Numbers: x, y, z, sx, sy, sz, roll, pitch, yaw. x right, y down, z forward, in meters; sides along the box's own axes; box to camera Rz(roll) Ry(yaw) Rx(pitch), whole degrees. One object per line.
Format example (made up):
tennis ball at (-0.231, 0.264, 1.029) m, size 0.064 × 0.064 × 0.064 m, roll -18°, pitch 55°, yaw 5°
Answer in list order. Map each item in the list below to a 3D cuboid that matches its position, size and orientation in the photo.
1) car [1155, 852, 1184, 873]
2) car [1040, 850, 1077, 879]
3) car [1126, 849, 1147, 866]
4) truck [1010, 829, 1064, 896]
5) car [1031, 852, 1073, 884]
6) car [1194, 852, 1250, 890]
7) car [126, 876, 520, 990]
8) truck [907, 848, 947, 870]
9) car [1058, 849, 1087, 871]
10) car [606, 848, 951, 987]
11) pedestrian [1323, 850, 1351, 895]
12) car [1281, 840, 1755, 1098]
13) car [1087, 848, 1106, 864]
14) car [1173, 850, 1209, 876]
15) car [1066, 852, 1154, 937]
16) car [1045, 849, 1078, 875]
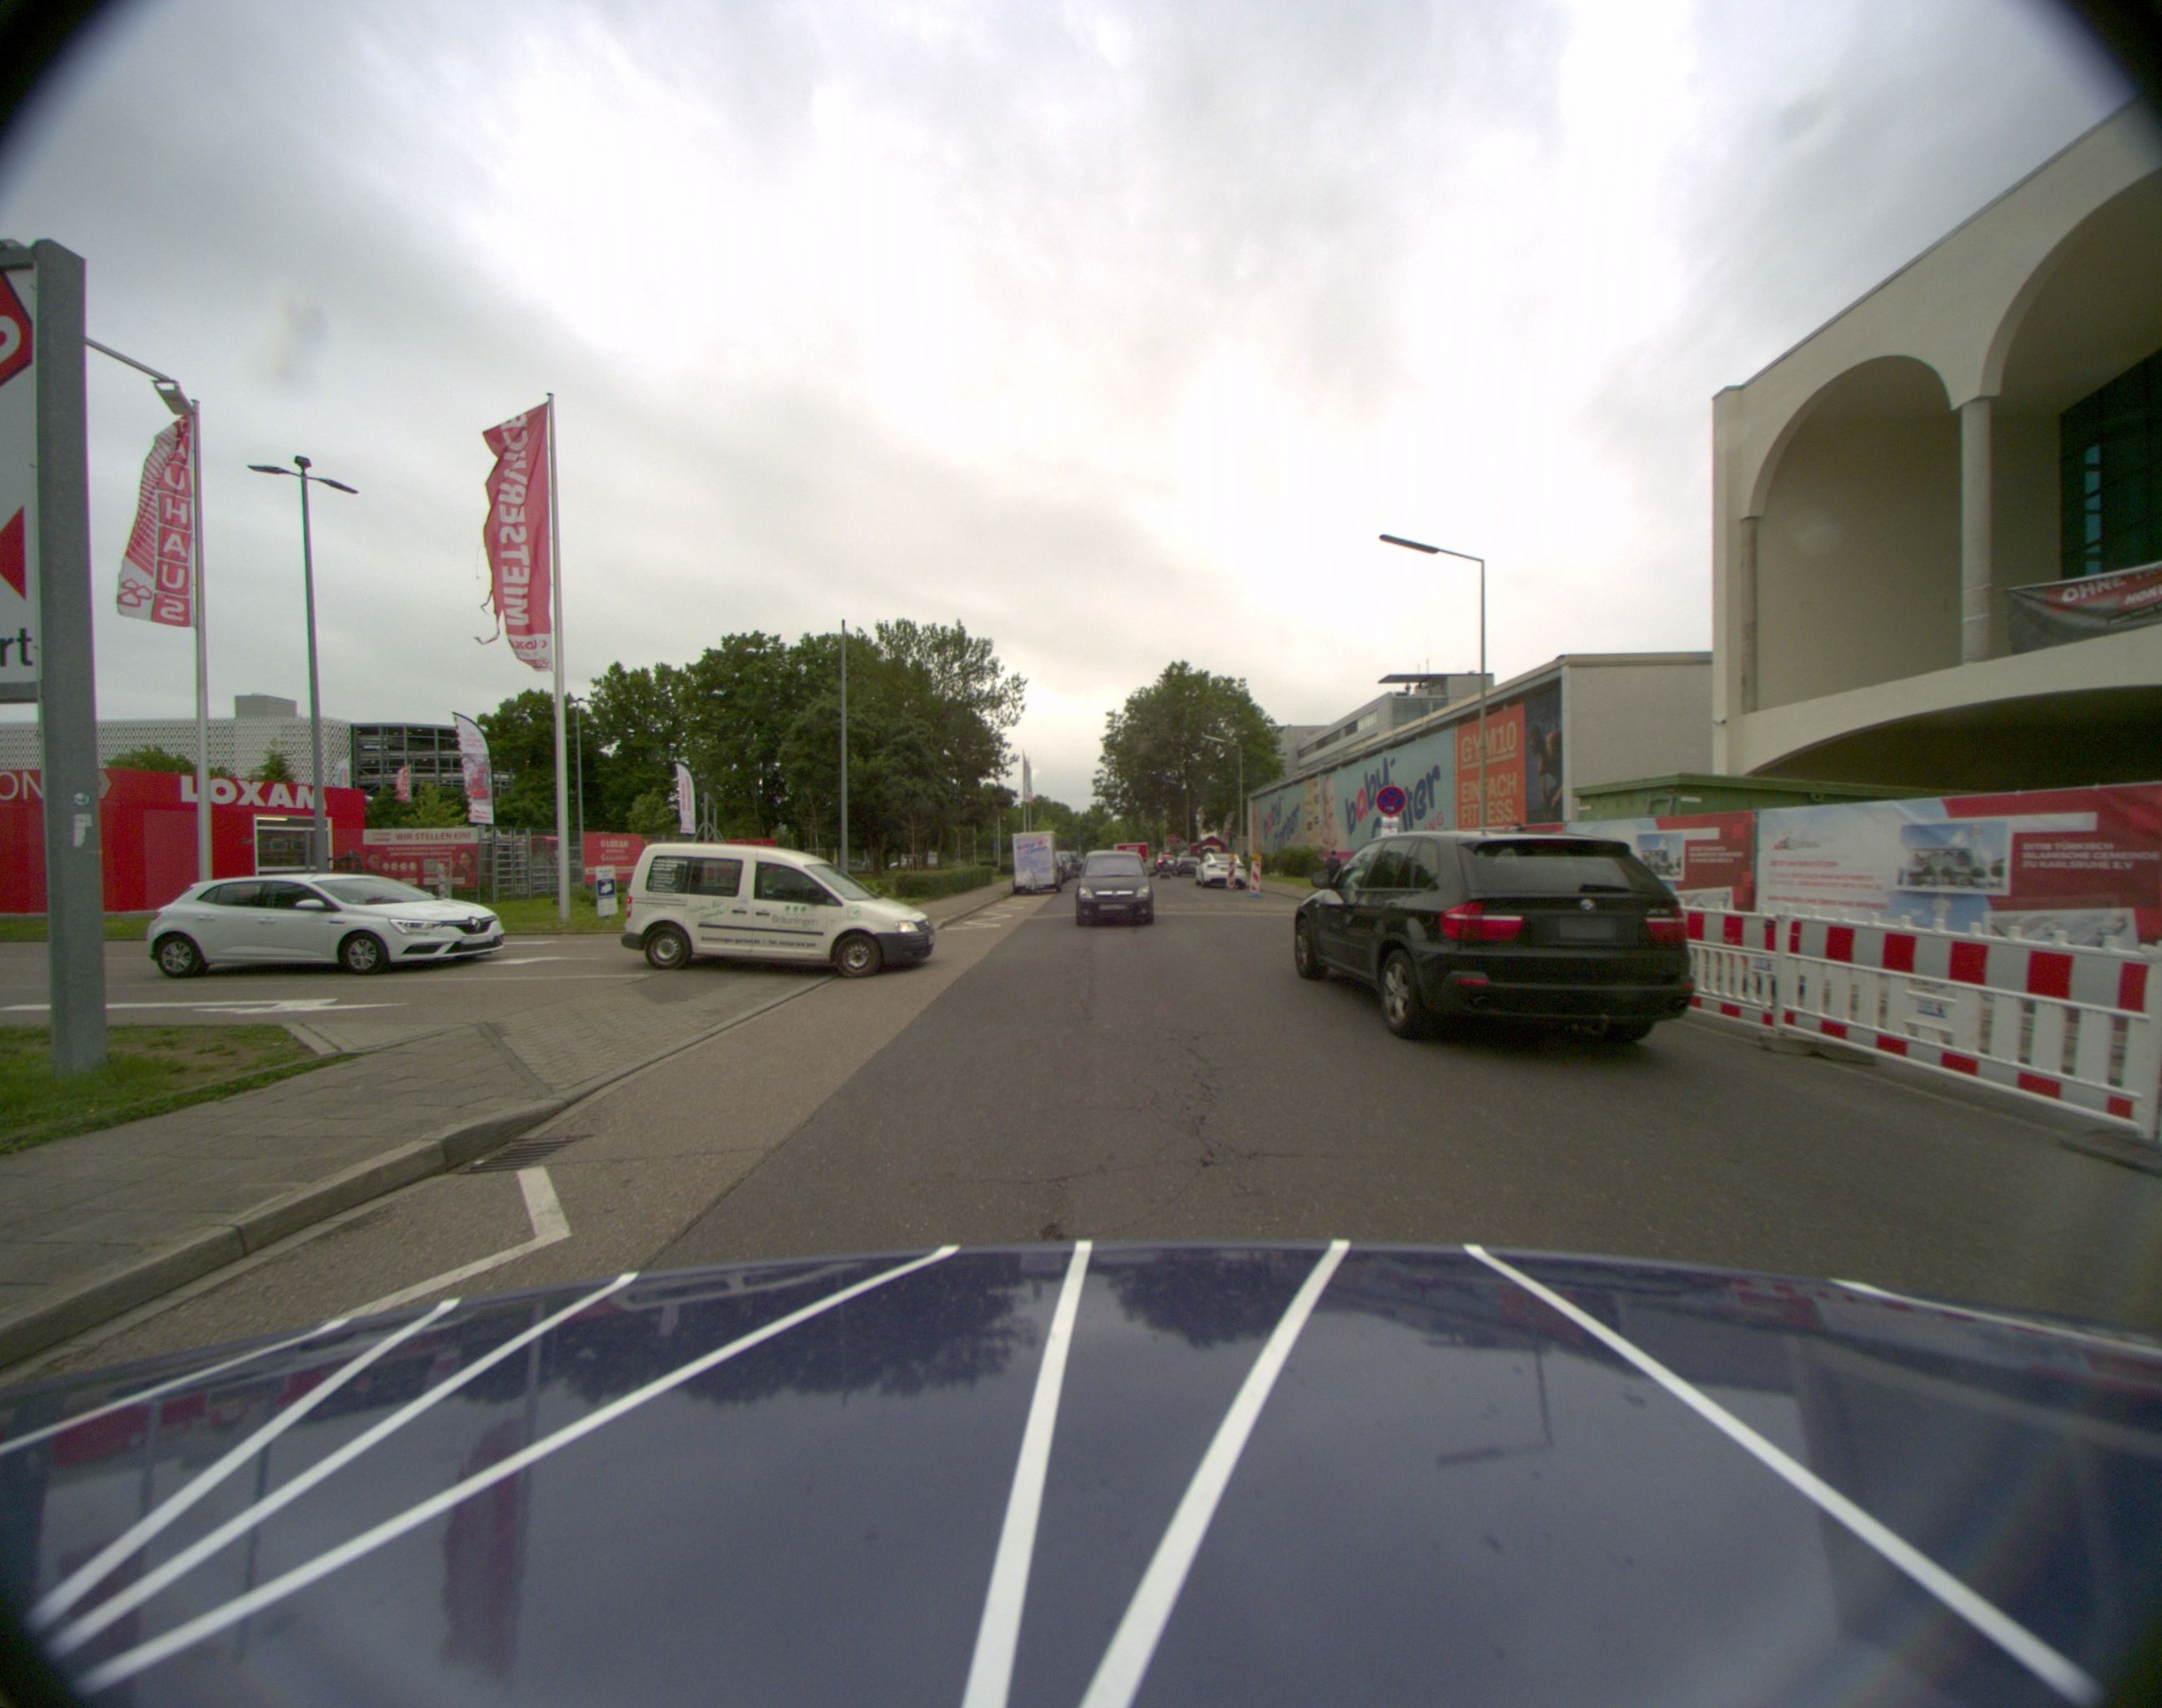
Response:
car at (7.203, 0.649, 62.177) m, size 1.928 × 1.565 × 4.150 m, roll 2°, pitch 0°, yaw 2°
car at (-1.401, 0.641, 48.556) m, size 1.998 × 1.740 × 4.001 m, roll -1°, pitch 0°, yaw 4°
car at (5.361, 0.323, 74.177) m, size 1.928 × 1.565 × 4.000 m, roll 0°, pitch 0°, yaw 3°
truck at (-1.834, 0.338, 32.850) m, size 1.853 × 2.597 × 4.000 m, roll -4°, pitch 1°, yaw 1°
car at (-1.592, 0.759, 43.367) m, size 1.998 × 1.718 × 4.001 m, roll -1°, pitch 0°, yaw 4°
car at (6.463, 0.738, 35.312) m, size 1.928 × 1.565 × 4.150 m, roll 2°, pitch 0°, yaw 2°
car at (-11.131, 1.118, 11.381) m, size 4.112 × 1.412 × 1.731 m, roll -2°, pitch 1°, yaw 0°
truck at (-17.294, 0.491, 85.424) m, size 1.994 × 2.383 × 4.008 m, roll 0°, pitch 1°, yaw 41°
car at (-0.646, 0.468, 61.593) m, size 1.998 × 1.740 × 4.001 m, roll -1°, pitch 0°, yaw 4°
car at (-4.298, 0.864, 11.310) m, size 4.380 × 1.797 × 1.800 m, roll 1°, pitch 1°, yaw 0°
pedestrian at (9.253, 0.662, 27.494) m, size 0.793 × 1.570 × 0.602 m, roll -2°, pitch 1°, yaw 8°
car at (3.489, 0.743, 7.352) m, size 1.964 × 1.652 × 4.654 m, roll 2°, pitch 1°, yaw 2°
car at (1.749, 0.208, 84.732) m, size 1.998 × 1.740 × 4.001 m, roll -1°, pitch 0°, yaw 3°
car at (7.389, 0.576, 51.358) m, size 1.928 × 1.565 × 4.150 m, roll 2°, pitch 0°, yaw 2°
car at (0.679, 0.790, 16.668) m, size 1.684 × 1.622 × 3.759 m, roll -1°, pitch 0°, yaw 4°
car at (-1.343, 0.529, 54.606) m, size 1.998 × 1.805 × 4.001 m, roll -1°, pitch 0°, yaw 4°
